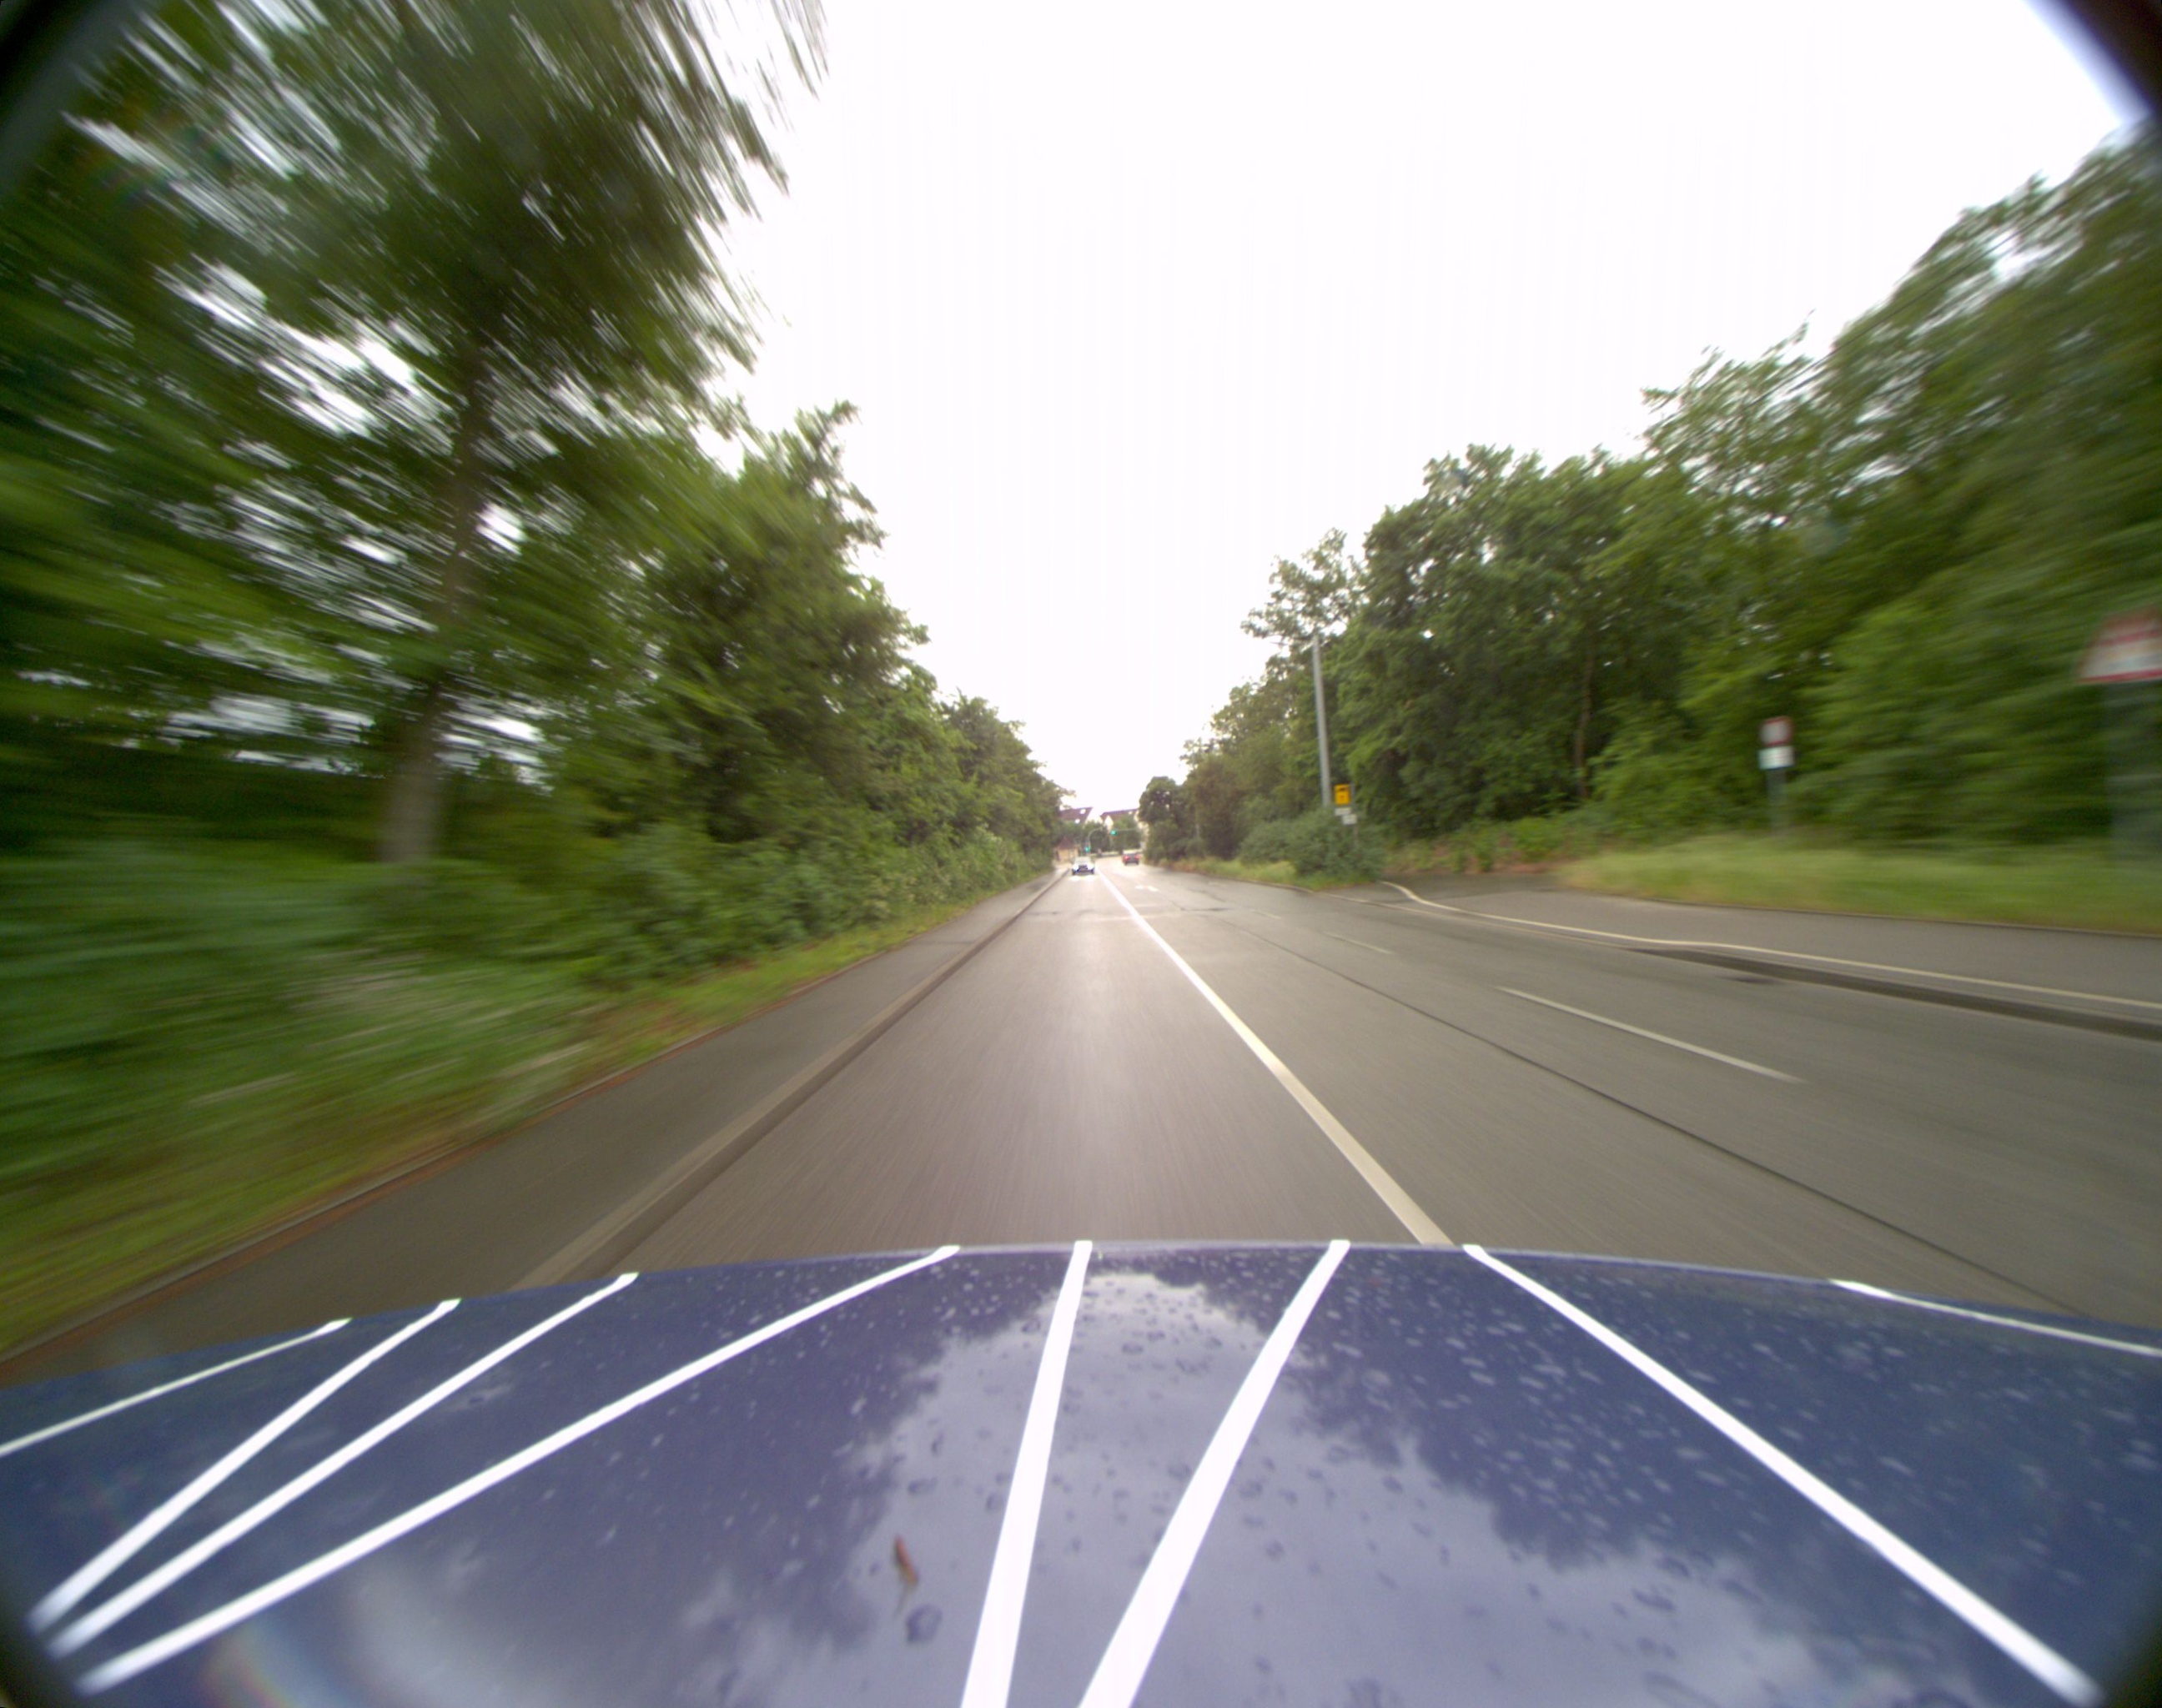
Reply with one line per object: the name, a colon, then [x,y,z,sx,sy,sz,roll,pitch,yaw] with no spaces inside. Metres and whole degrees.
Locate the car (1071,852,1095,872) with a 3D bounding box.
car: [0.192,0.694,61.980,1.831,1.511,4.002,1,-2,2]
